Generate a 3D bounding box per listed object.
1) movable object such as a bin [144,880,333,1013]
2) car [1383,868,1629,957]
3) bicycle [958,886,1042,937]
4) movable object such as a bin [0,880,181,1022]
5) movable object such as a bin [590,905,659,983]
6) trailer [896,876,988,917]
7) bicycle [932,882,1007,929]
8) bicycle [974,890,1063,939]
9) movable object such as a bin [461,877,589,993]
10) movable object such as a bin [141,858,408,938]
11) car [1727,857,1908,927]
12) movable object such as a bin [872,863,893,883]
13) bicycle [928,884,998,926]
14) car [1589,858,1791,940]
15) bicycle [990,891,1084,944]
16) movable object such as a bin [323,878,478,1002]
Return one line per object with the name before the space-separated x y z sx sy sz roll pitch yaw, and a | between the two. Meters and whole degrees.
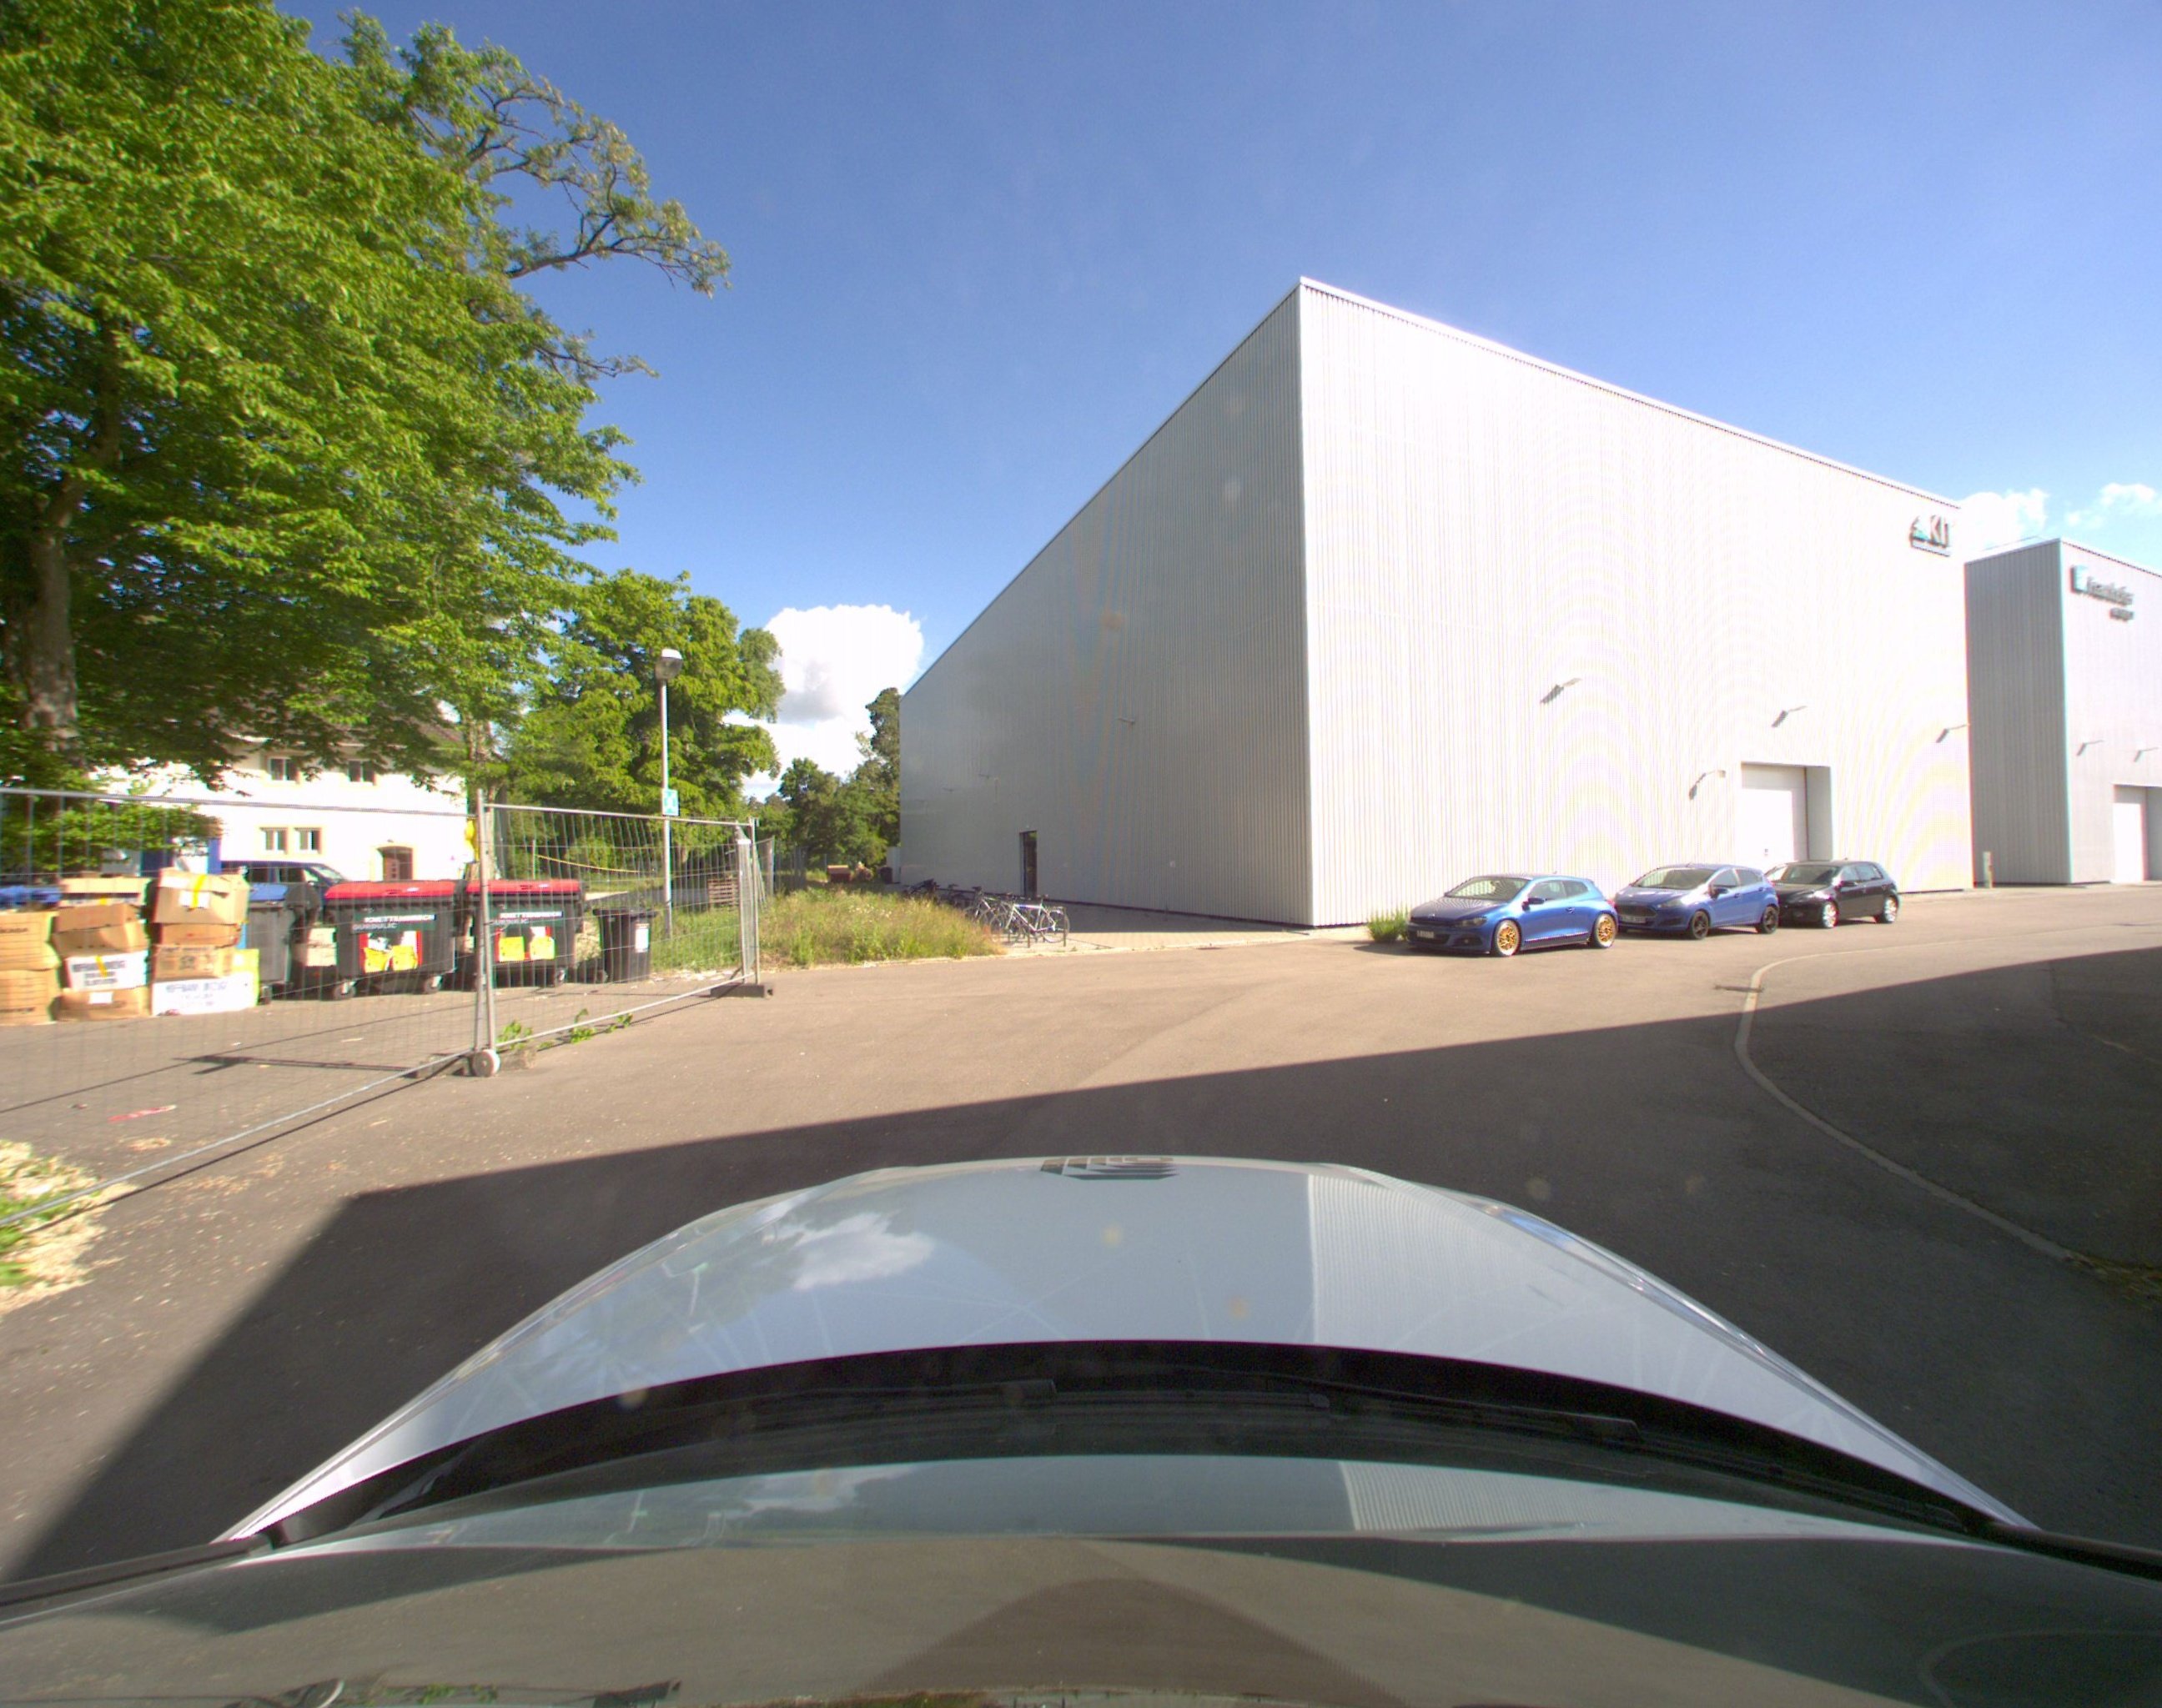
movable object such as a bin | -10.056 1.054 9.804 1.294 1.426 1.023 -1 -1 -26
car | 7.635 0.949 14.617 4.175 1.384 1.741 0 -1 -25
bicycle | -1.867 1.310 18.951 1.892 1.082 0.430 -1 -1 -25
movable object such as a bin | -11.080 1.029 9.044 1.088 1.438 1.048 -1 -1 -22
movable object such as a bin | -6.348 1.243 11.352 0.641 1.007 0.603 -1 -1 -8
trailer | -4.534 1.355 26.587 2.723 1.200 1.236 -1 -1 -25
bicycle | -2.921 1.334 21.425 1.892 1.126 0.430 -1 -1 -25
bicycle | -1.344 1.302 17.767 1.892 0.978 0.430 -1 -1 -25
movable object such as a bin | -7.469 1.047 11.030 1.294 1.426 1.023 -1 -1 -27
movable object such as a bin | -22.133 1.147 22.664 4.897 1.970 1.916 -1 -1 -26
car | 17.159 0.816 18.961 3.903 1.418 1.741 0 1 -25
movable object such as a bin | -17.150 1.672 70.317 1.368 1.656 2.822 -1 -1 -21
bicycle | -3.278 1.406 22.697 1.892 1.104 0.430 -1 -1 -25
car | 12.684 0.852 16.962 3.903 1.473 1.741 0 1 -25
bicycle | -0.896 1.289 16.725 1.892 0.978 0.430 -1 -1 -25
movable object such as a bin | -8.648 1.042 10.432 1.294 1.426 1.023 -1 -1 -26
